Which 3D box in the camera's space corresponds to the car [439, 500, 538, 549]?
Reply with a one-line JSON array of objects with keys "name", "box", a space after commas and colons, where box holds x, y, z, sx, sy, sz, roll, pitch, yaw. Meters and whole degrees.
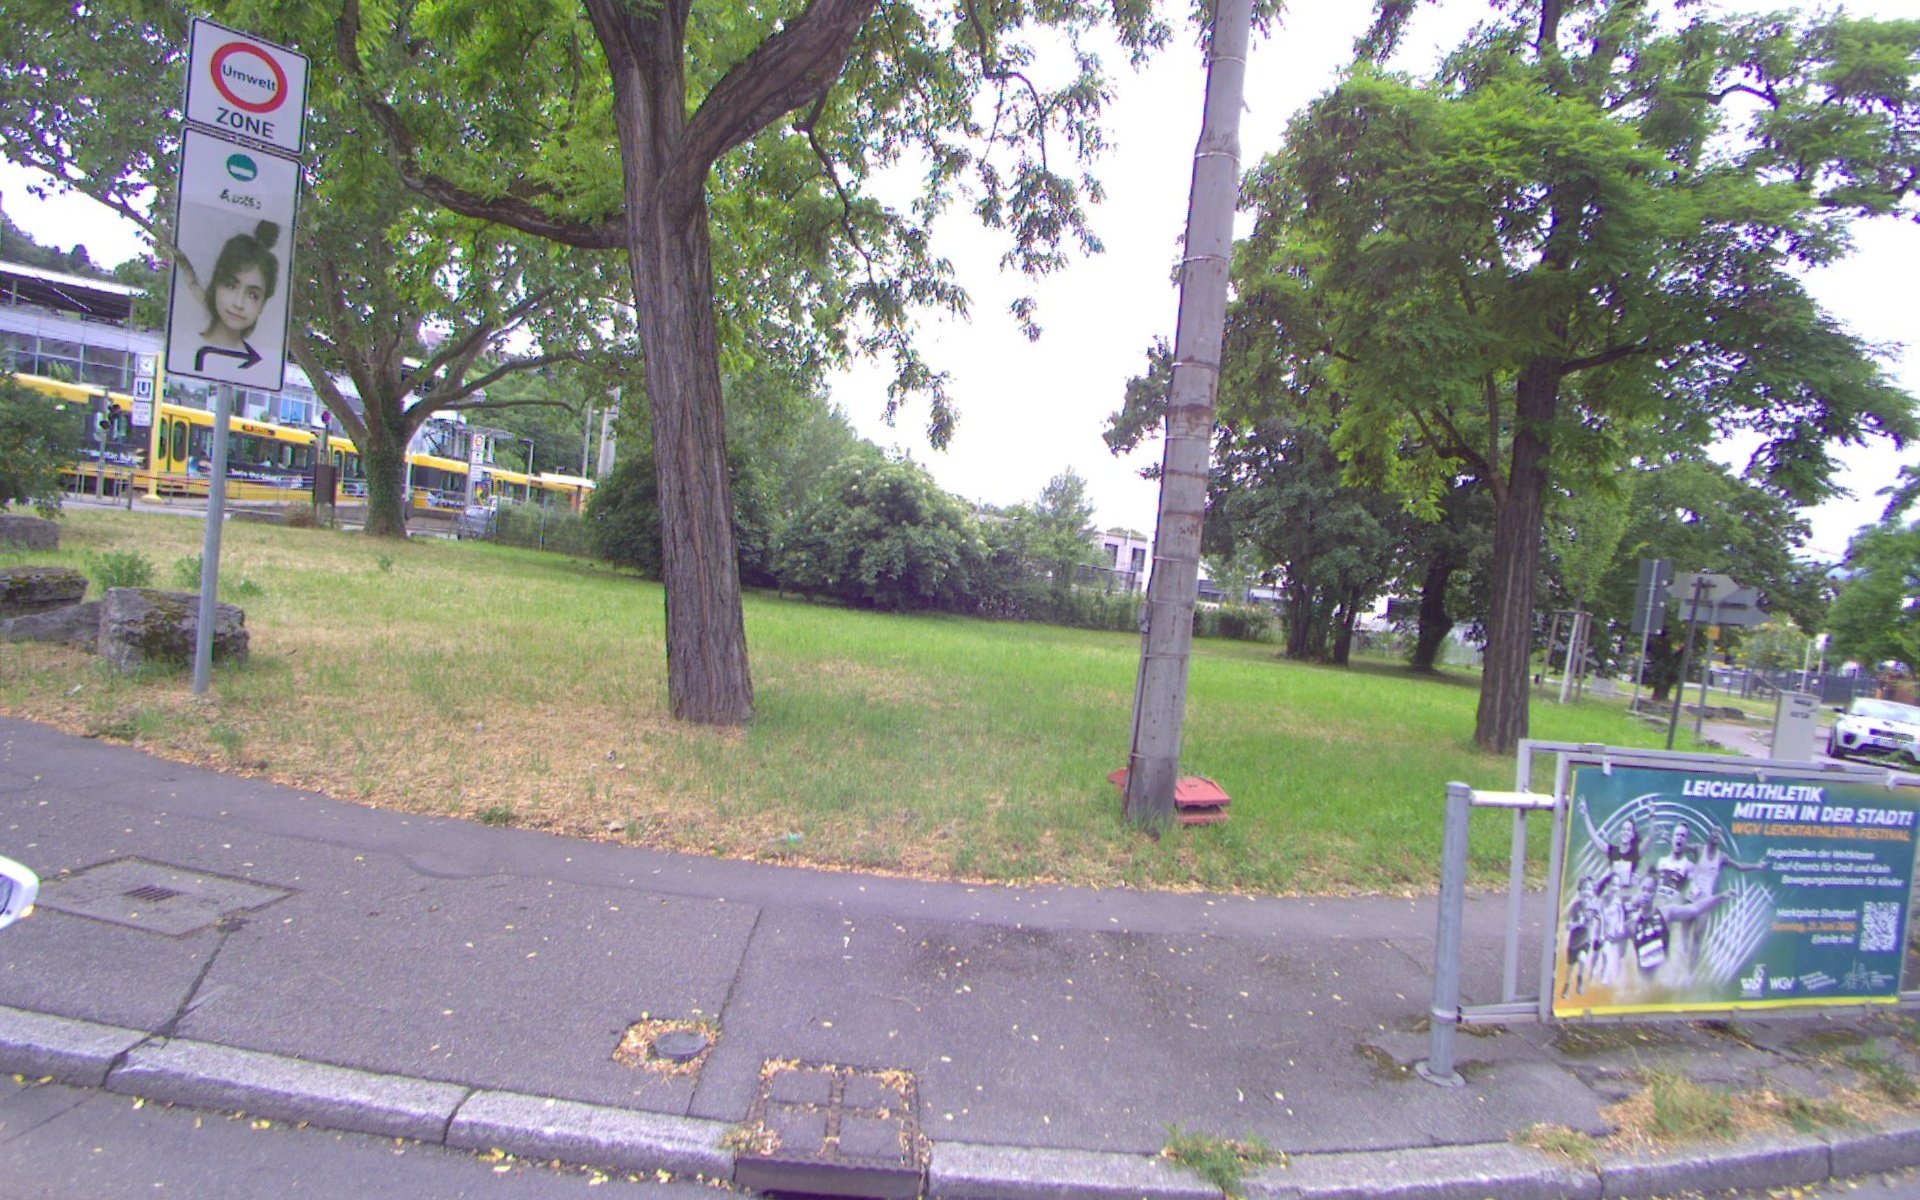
[{"name": "car", "box": [-20.004, -3.180, 42.820, 1.768, 1.605, 3.887, 7, 2, 10]}]

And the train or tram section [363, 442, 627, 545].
[{"name": "train or tram section", "box": [-25.582, -5.650, 57.941, 3.215, 3.713, 19.168, 7, 2, 10]}]

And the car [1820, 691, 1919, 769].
[{"name": "car", "box": [22.875, 3.182, 24.927, 2.017, 1.555, 3.926, 5, -1, 37]}]

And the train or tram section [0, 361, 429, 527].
[{"name": "train or tram section", "box": [-28.843, -5.530, 39.063, 3.215, 3.713, 19.168, 7, 2, 10]}]
